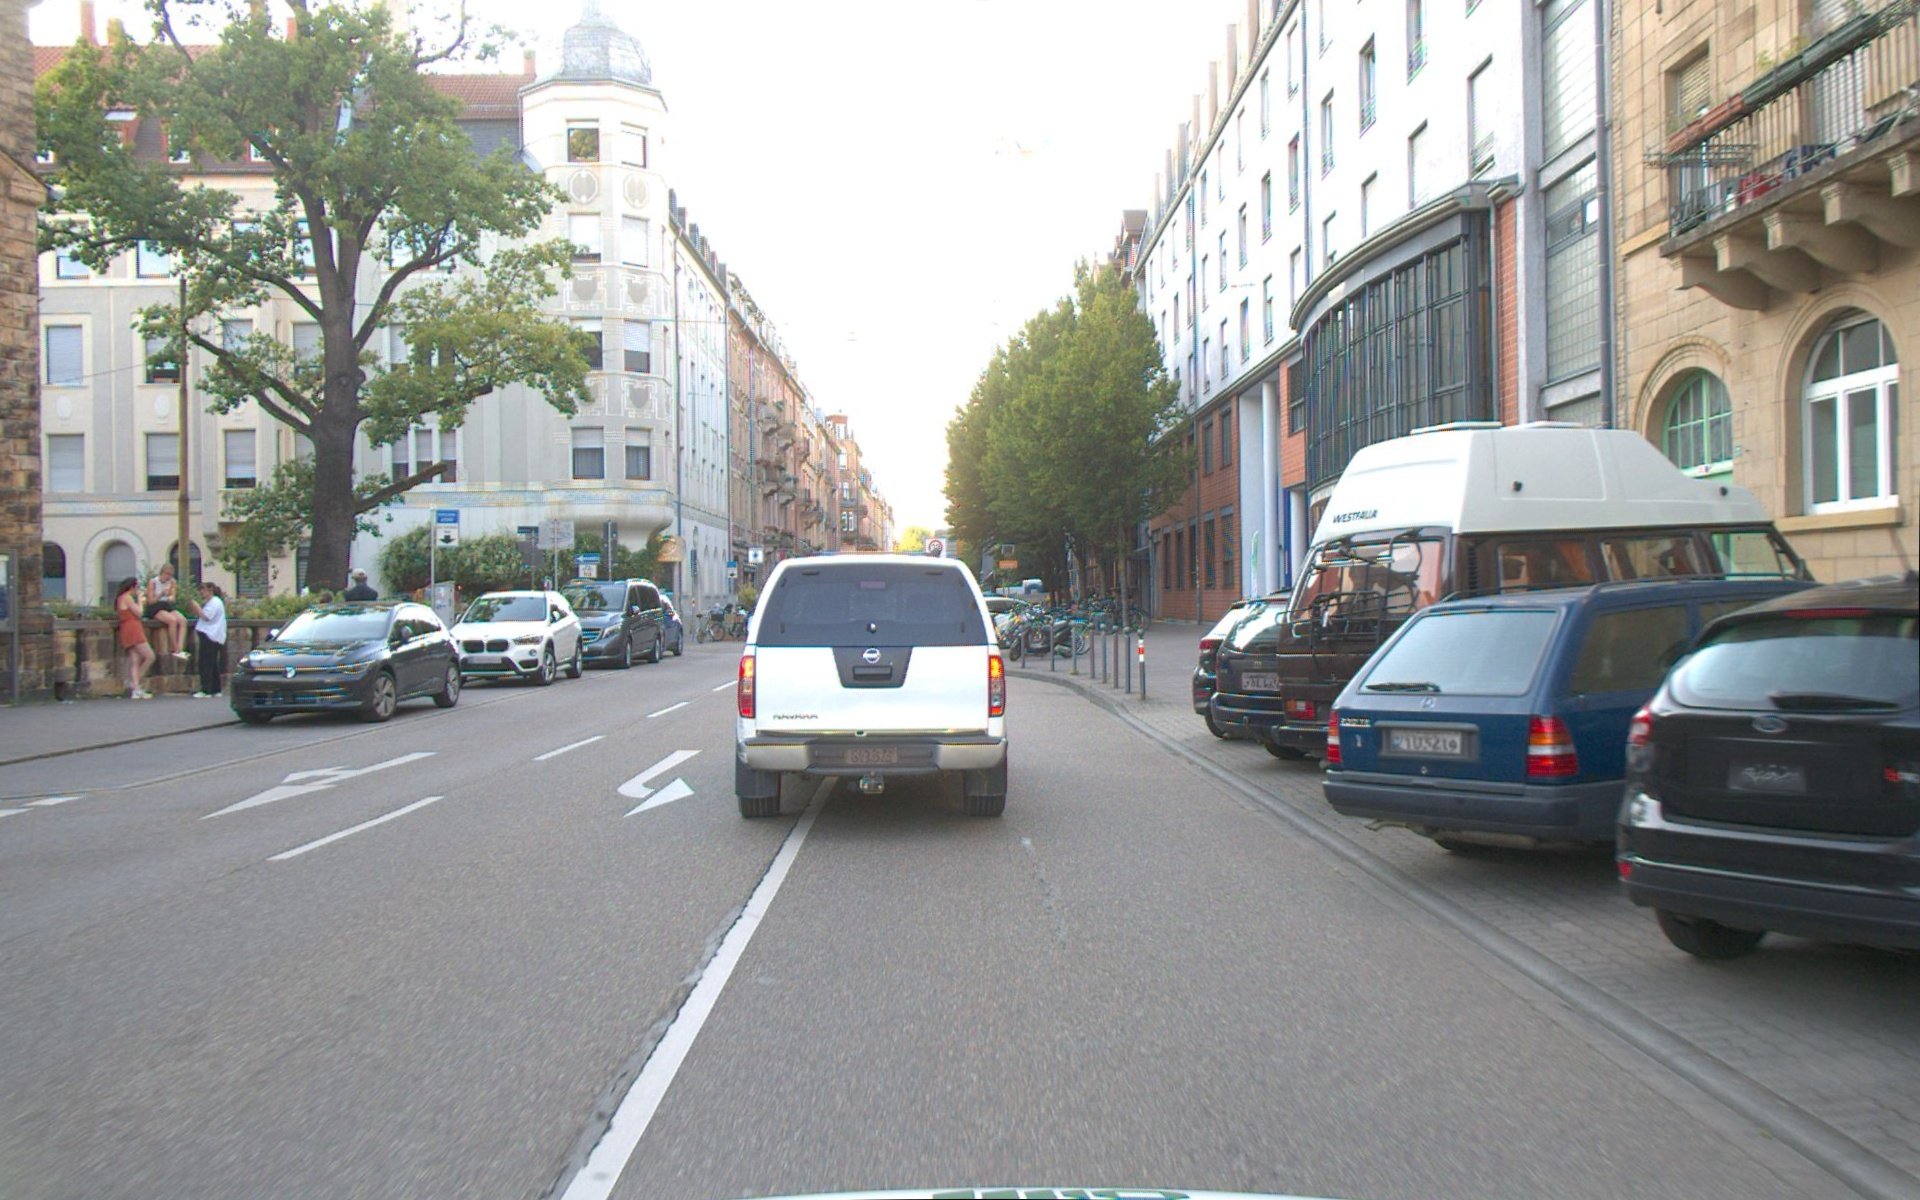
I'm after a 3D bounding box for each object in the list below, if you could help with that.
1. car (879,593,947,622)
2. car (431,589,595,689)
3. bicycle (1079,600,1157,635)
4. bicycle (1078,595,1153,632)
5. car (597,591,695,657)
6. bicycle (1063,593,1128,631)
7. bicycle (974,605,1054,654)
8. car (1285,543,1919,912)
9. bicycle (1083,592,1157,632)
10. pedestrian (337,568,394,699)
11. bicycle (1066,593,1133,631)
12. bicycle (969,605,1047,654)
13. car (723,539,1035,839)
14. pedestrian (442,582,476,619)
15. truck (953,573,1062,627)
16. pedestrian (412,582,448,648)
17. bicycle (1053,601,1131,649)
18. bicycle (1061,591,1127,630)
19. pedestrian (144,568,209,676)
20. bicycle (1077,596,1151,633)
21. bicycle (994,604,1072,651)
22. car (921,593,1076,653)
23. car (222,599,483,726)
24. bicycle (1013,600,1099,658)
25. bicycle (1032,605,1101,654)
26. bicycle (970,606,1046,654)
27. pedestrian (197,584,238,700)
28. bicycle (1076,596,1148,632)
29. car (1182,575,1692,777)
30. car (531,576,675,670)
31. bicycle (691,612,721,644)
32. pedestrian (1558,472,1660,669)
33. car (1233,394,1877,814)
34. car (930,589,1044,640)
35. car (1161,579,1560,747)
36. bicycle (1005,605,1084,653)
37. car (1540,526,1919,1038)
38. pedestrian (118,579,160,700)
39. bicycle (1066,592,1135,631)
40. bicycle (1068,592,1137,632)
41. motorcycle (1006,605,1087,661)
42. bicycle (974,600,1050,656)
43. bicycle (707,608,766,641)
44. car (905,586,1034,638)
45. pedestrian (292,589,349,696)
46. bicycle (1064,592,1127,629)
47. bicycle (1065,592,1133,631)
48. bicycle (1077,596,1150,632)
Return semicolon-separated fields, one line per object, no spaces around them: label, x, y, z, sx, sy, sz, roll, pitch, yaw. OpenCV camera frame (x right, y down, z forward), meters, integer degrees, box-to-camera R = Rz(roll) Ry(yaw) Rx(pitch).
car;-2.984;0.492;105.598;4.106;1.811;1.821;0;0;5
car;-7.884;0.636;29.580;1.833;1.619;4.467;-1;0;-2
bicycle;5.281;0.588;55.382;2.482;0.976;0.680;-4;0;2
bicycle;5.256;0.456;56.004;2.482;1.187;0.562;-1;0;2
car;-7.879;0.577;41.833;1.606;1.583;4.005;-1;0;2
bicycle;5.223;0.459;63.801;2.482;1.403;0.599;-1;0;2
bicycle;1.269;0.694;39.036;1.820;1.056;0.471;-3;0;-2
car;4.095;0.527;9.276;4.342;1.512;1.824;-4;1;-31
bicycle;5.236;0.393;54.175;2.298;1.118;0.680;-4;0;2
pedestrian;-8.960;0.492;24.947;0.570;1.938;0.802;-1;0;-4
bicycle;5.321;0.455;63.120;2.482;1.403;0.599;-1;0;2
bicycle;1.164;0.717;40.045;1.820;1.084;0.445;-3;0;-2
car;-0.538;0.553;12.451;1.894;1.826;4.620;0;0;-1
pedestrian;-13.680;0.007;45.177;0.692;0.997;0.836;-1;0;-2
truck;2.738;0.014;95.353;6.190;3.029;2.264;0;-3;1
pedestrian;-14.440;0.407;45.093;0.692;1.751;0.836;-1;0;-2
bicycle;3.227;0.603;40.421;1.820;1.084;0.524;-3;0;-2
bicycle;5.269;0.415;65.201;2.483;1.266;0.599;-6;0;2
pedestrian;-11.544;0.319;24.365;0.637;1.572;0.585;-1;0;23
bicycle;5.275;0.495;56.615;2.482;1.187;0.562;-1;0;2
bicycle;1.836;0.689;41.530;1.873;1.084;0.524;-3;0;-2
car;1.075;0.627;45.779;3.945;1.533;1.752;-1;0;-30
car;-7.754;0.729;21.572;1.746;1.460;4.316;-1;0;1
bicycle;2.167;0.641;37.463;1.821;1.166;0.659;-4;0;-1
bicycle;2.482;0.684;38.564;1.509;1.056;0.471;-3;0;-2
bicycle;1.184;0.735;40.818;1.820;1.084;0.445;-3;0;-2
pedestrian;-10.803;0.602;24.062;0.411;1.650;0.540;0;0;-40
bicycle;5.310;0.483;57.888;2.482;1.187;0.562;-1;0;2
car;4.276;0.580;14.729;4.294;1.529;1.895;-1;0;-29
car;-7.817;0.465;36.703;1.952;1.899;5.290;-1;0;1
bicycle;-8.675;0.954;56.596;0.414;1.030;1.720;0;1;13
pedestrian;7.069;-0.324;18.041;0.595;2.048;0.858;6;1;1
car;4.456;0.009;12.210;4.661;2.591;1.899;-1;-1;-30
car;0.920;0.478;56.369;3.562;1.608;1.696;-1;0;-34
car;4.185;0.574;17.108;4.017;1.518;1.705;-1;0;-32
bicycle;2.029;0.699;39.630;1.820;1.056;0.402;-3;0;-2
car;4.458;0.519;6.554;4.063;1.573;1.778;-2;-2;-29
pedestrian;-11.719;0.558;23.601;0.411;1.704;0.540;0;0;-40
bicycle;5.226;0.436;61.606;2.482;1.403;0.599;-1;0;2
bicycle;5.257;0.435;60.892;2.482;1.403;0.599;-1;0;2
motorcycle;1.890;0.713;36.076;1.614;1.121;0.646;-3;0;-9
bicycle;1.191;0.630;38.025;1.673;1.196;0.471;-3;0;-2
bicycle;-7.804;0.855;57.738;2.068;1.114;0.501;0;1;24
car;0.326;0.373;53.645;3.948;1.564;1.618;-1;0;-32
pedestrian;-9.618;0.622;24.880;0.570;1.579;0.839;0;0;-4
bicycle;5.448;0.416;66.437;2.482;1.403;0.599;-1;0;2
bicycle;5.225;0.430;62.265;2.482;1.403;0.599;-1;0;2
bicycle;5.301;0.487;57.277;2.482;1.187;0.562;-1;0;2
